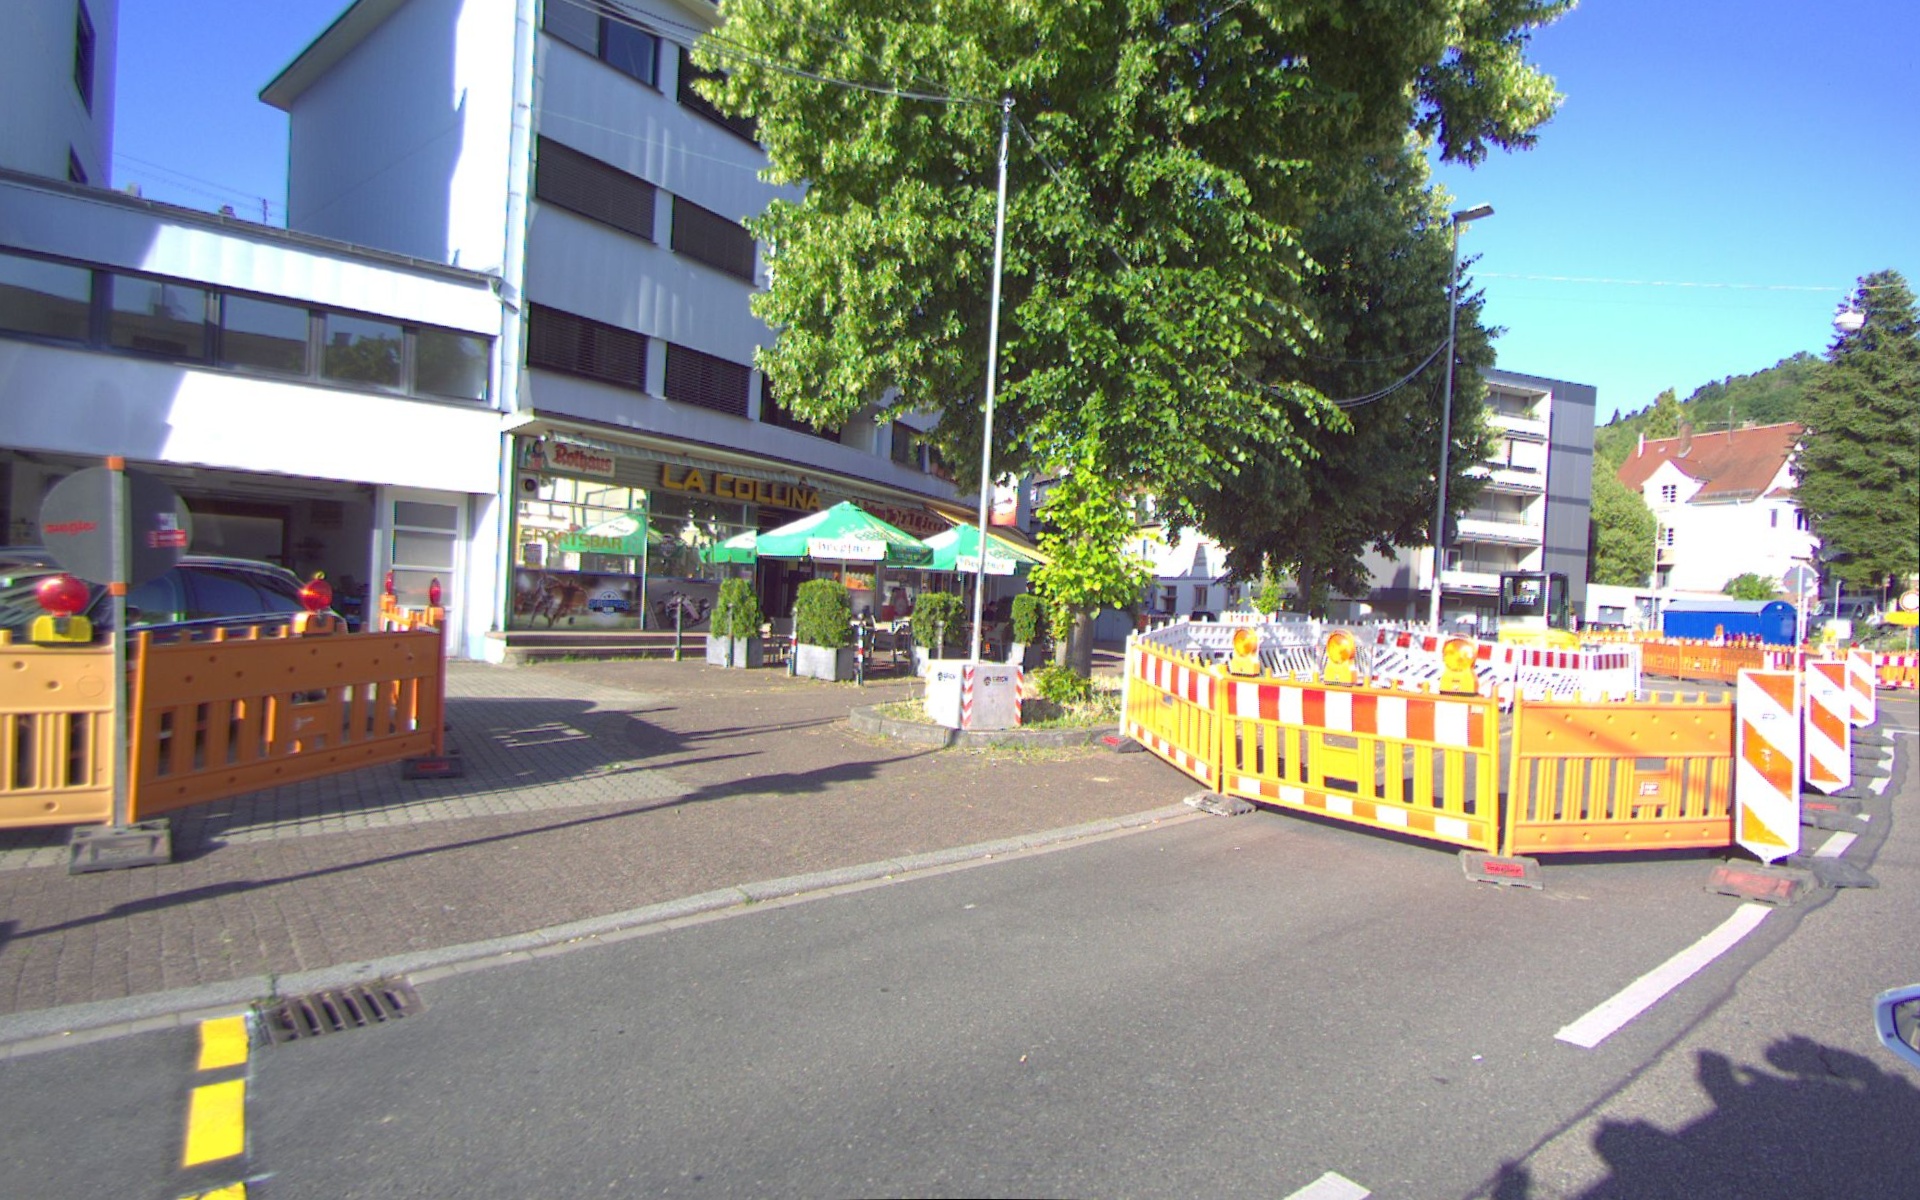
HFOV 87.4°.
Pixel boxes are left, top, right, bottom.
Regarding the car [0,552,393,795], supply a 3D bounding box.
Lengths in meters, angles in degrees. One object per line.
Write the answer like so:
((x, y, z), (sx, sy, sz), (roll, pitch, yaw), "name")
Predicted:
((-6.328, 0.443, 7.505), (1.564, 1.457, 3.887), (2, -1, 8), "car")

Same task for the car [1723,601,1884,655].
((38.186, 1.249, 45.492), (6.049, 2.149, 2.584), (3, -1, -15), "car")

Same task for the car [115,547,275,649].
((-13.795, -0.064, 18.333), (1.552, 1.629, 3.730), (3, 0, -26), "car")

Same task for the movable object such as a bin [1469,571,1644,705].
((11.648, 0.713, 19.521), (3.887, 2.355, 1.633), (2, 0, -39), "movable object such as a bin")

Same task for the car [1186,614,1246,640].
((16.355, 1.712, 64.209), (3.355, 1.430, 1.508), (3, 1, -13), "car")
